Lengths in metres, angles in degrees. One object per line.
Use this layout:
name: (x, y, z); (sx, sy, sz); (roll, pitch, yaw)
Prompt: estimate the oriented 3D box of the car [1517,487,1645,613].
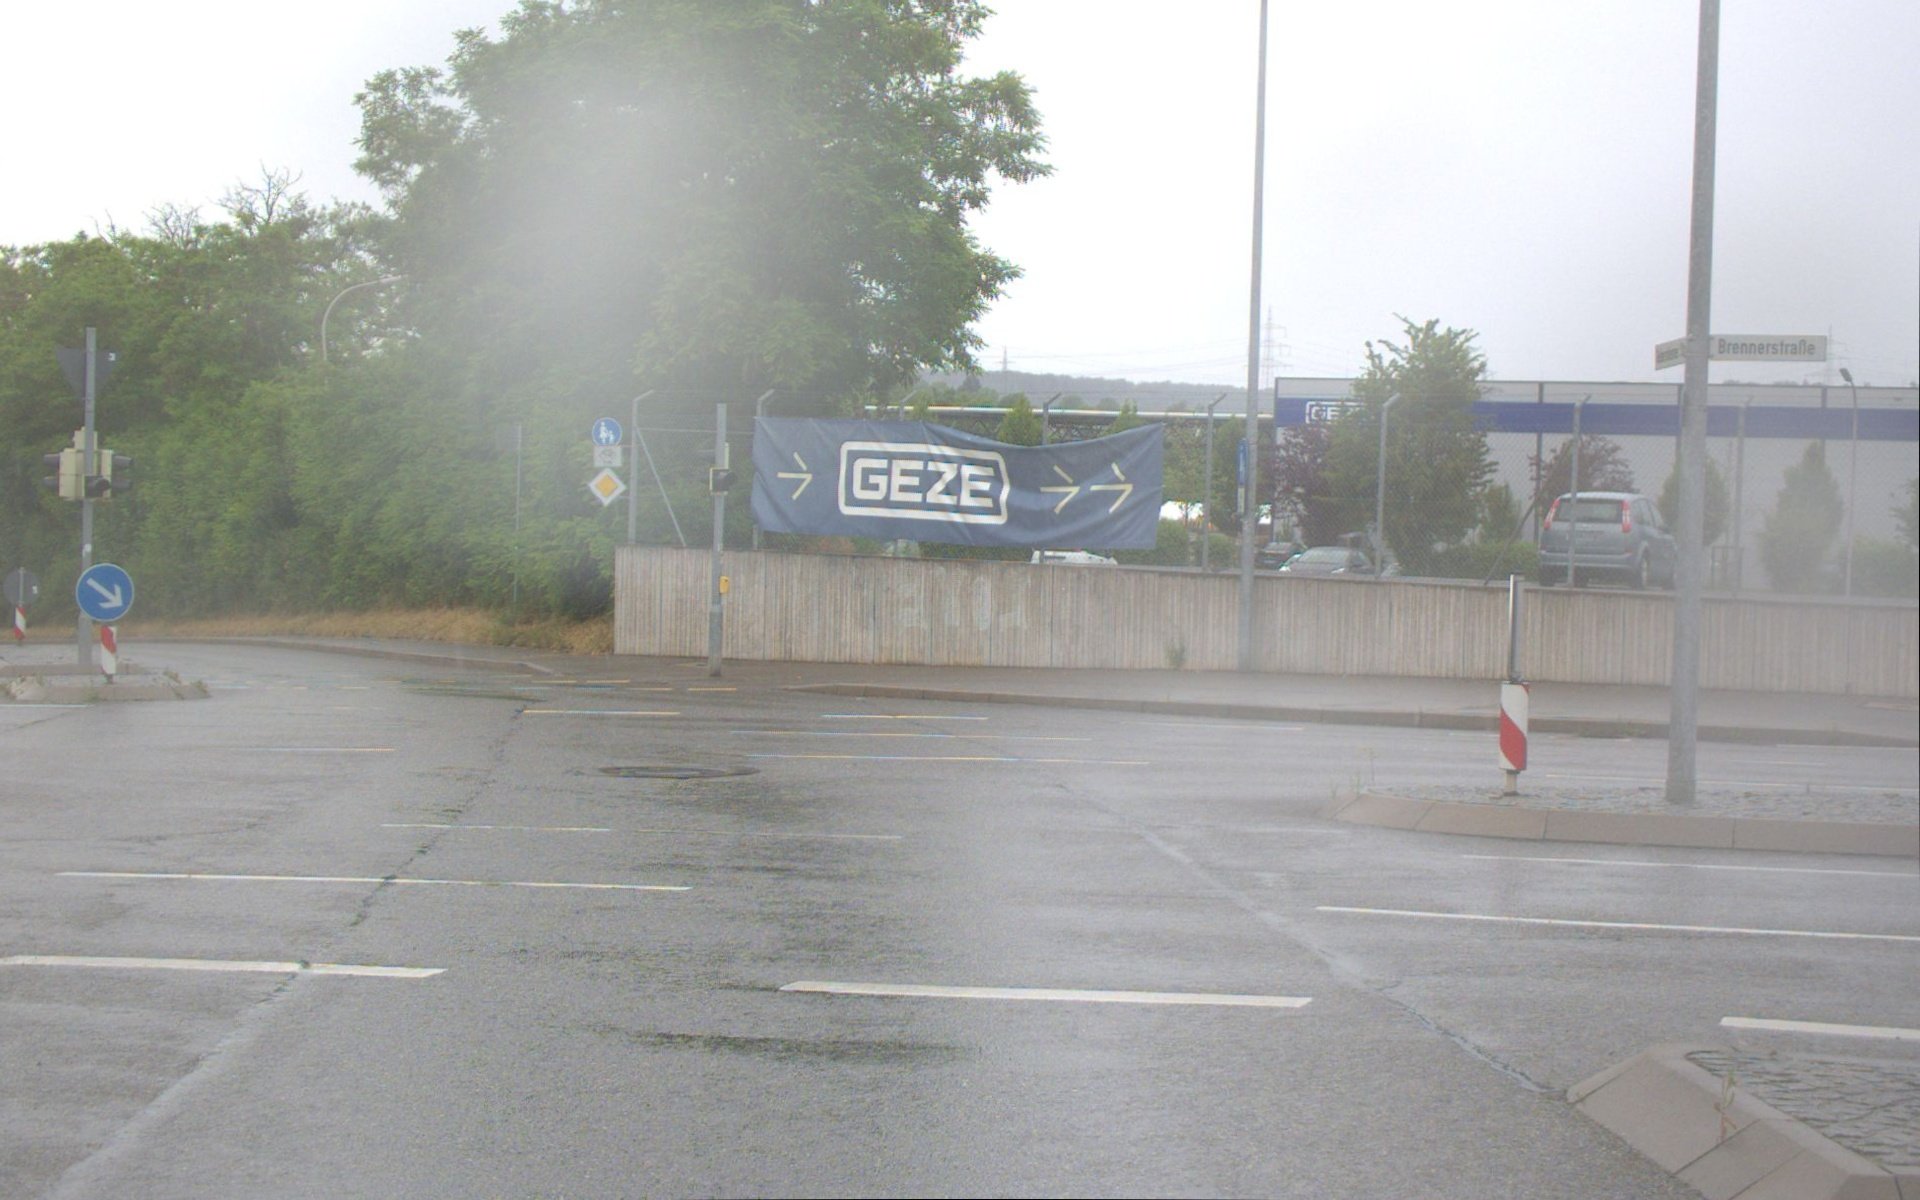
car: (10.453, -0.841, 57.684); (1.994, 2.007, 3.998); (1, 1, 11)
